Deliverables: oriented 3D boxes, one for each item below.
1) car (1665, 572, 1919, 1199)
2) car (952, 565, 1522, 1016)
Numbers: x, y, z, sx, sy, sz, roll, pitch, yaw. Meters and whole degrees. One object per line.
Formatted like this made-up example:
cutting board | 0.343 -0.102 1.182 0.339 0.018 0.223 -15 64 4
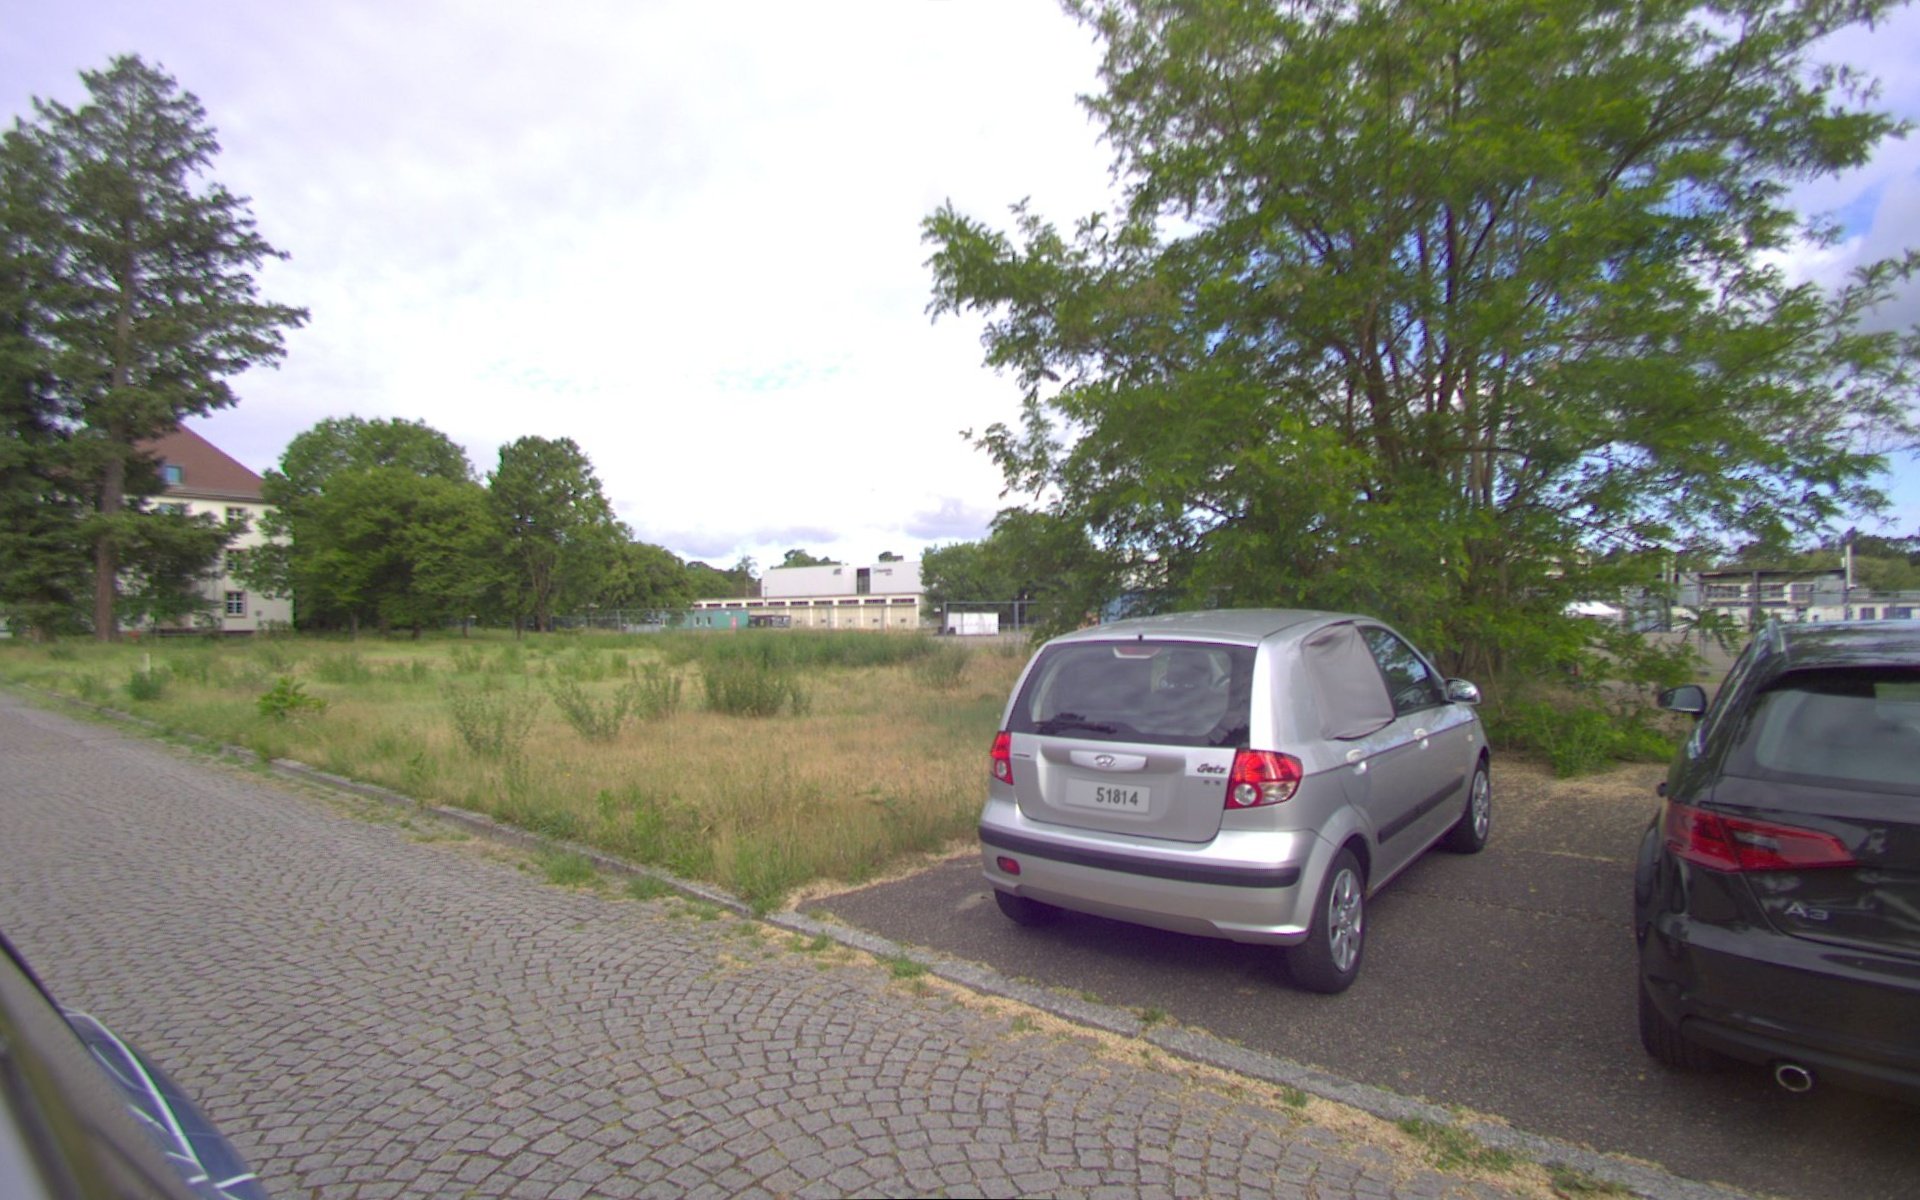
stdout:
car | 3.595 0.653 3.576 1.580 1.439 3.710 -2 1 38
car | 1.735 0.608 5.355 1.580 1.490 3.668 -2 1 38
